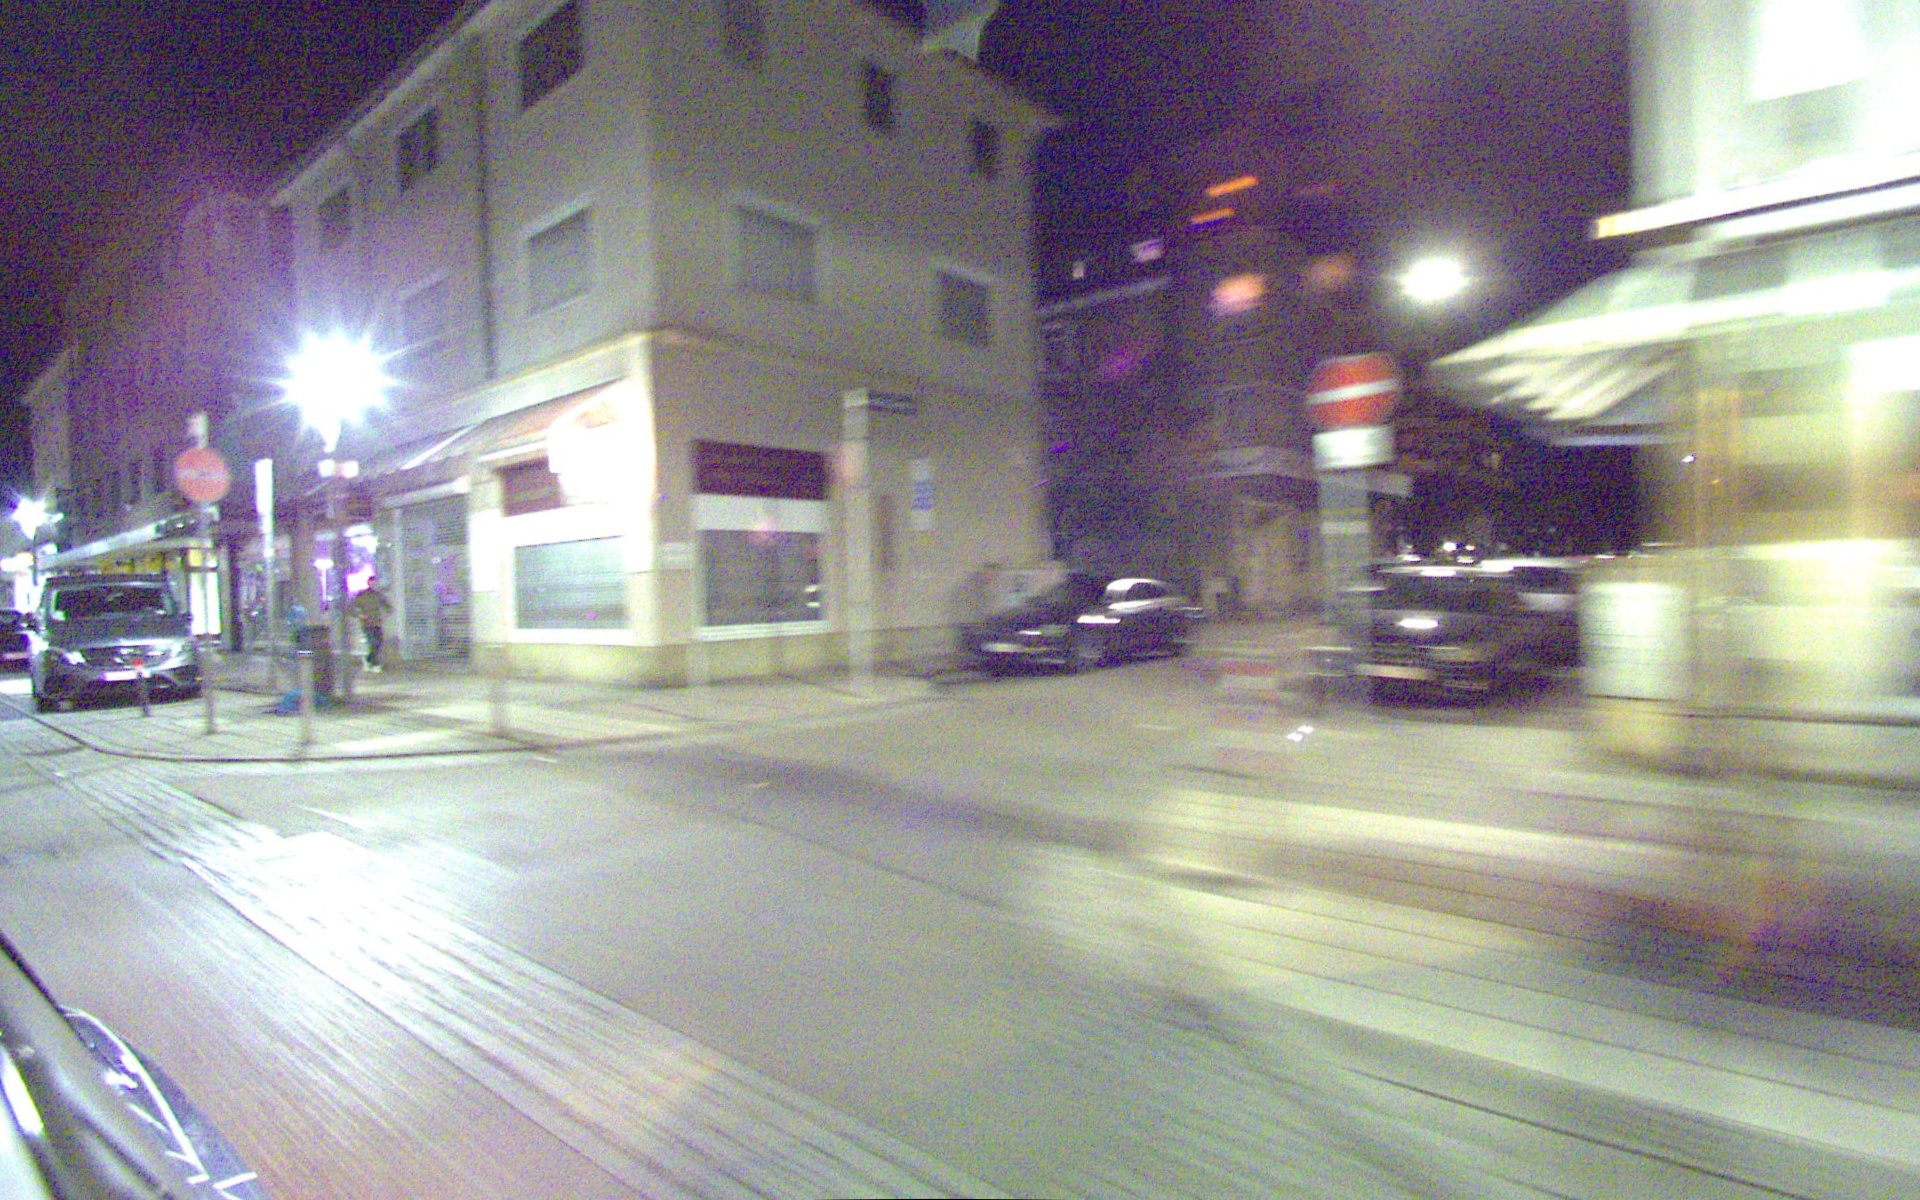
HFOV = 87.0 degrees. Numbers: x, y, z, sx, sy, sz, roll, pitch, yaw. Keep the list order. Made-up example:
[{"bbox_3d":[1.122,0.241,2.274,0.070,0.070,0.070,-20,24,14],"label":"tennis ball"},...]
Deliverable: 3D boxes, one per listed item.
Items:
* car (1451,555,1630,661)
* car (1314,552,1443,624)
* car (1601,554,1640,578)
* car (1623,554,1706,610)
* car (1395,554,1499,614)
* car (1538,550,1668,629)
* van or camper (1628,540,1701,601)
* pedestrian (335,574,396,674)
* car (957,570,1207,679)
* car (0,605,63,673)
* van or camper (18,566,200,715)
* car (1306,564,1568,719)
[{"bbox_3d":[9.036,0.028,15.601,1.807,1.401,3.948,1,3,39],"label":"car"},{"bbox_3d":[11.027,-0.312,26.556,1.998,1.660,3.947,-4,-1,39],"label":"car"},{"bbox_3d":[50.961,-2.574,78.036,1.998,1.660,3.947,-4,-1,39],"label":"car"},{"bbox_3d":[19.232,-0.532,27.562,1.609,1.401,3.632,1,3,39],"label":"car"},{"bbox_3d":[15.238,-0.489,31.578,1.998,1.660,3.947,-4,-1,39],"label":"car"},{"bbox_3d":[12.782,-0.262,20.031,1.748,1.401,3.948,1,3,39],"label":"car"},{"bbox_3d":[22.912,-0.991,32.853,1.609,1.817,4.919,1,3,39],"label":"van or camper"},{"bbox_3d":[-10.796,0.422,18.379,1.022,1.758,0.615,-1,1,41],"label":"pedestrian"},{"bbox_3d":[2.090,0.335,16.214,1.778,1.411,4.397,-4,-1,40],"label":"car"},{"bbox_3d":[-22.417,0.881,23.586,4.384,1.423,1.699,-1,2,42],"label":"car"},{"bbox_3d":[-13.513,0.533,15.933,1.824,1.956,5.158,-3,1,-44],"label":"van or camper"},{"bbox_3d":[5.506,0.318,11.414,1.807,1.386,3.948,1,3,39],"label":"car"}]
